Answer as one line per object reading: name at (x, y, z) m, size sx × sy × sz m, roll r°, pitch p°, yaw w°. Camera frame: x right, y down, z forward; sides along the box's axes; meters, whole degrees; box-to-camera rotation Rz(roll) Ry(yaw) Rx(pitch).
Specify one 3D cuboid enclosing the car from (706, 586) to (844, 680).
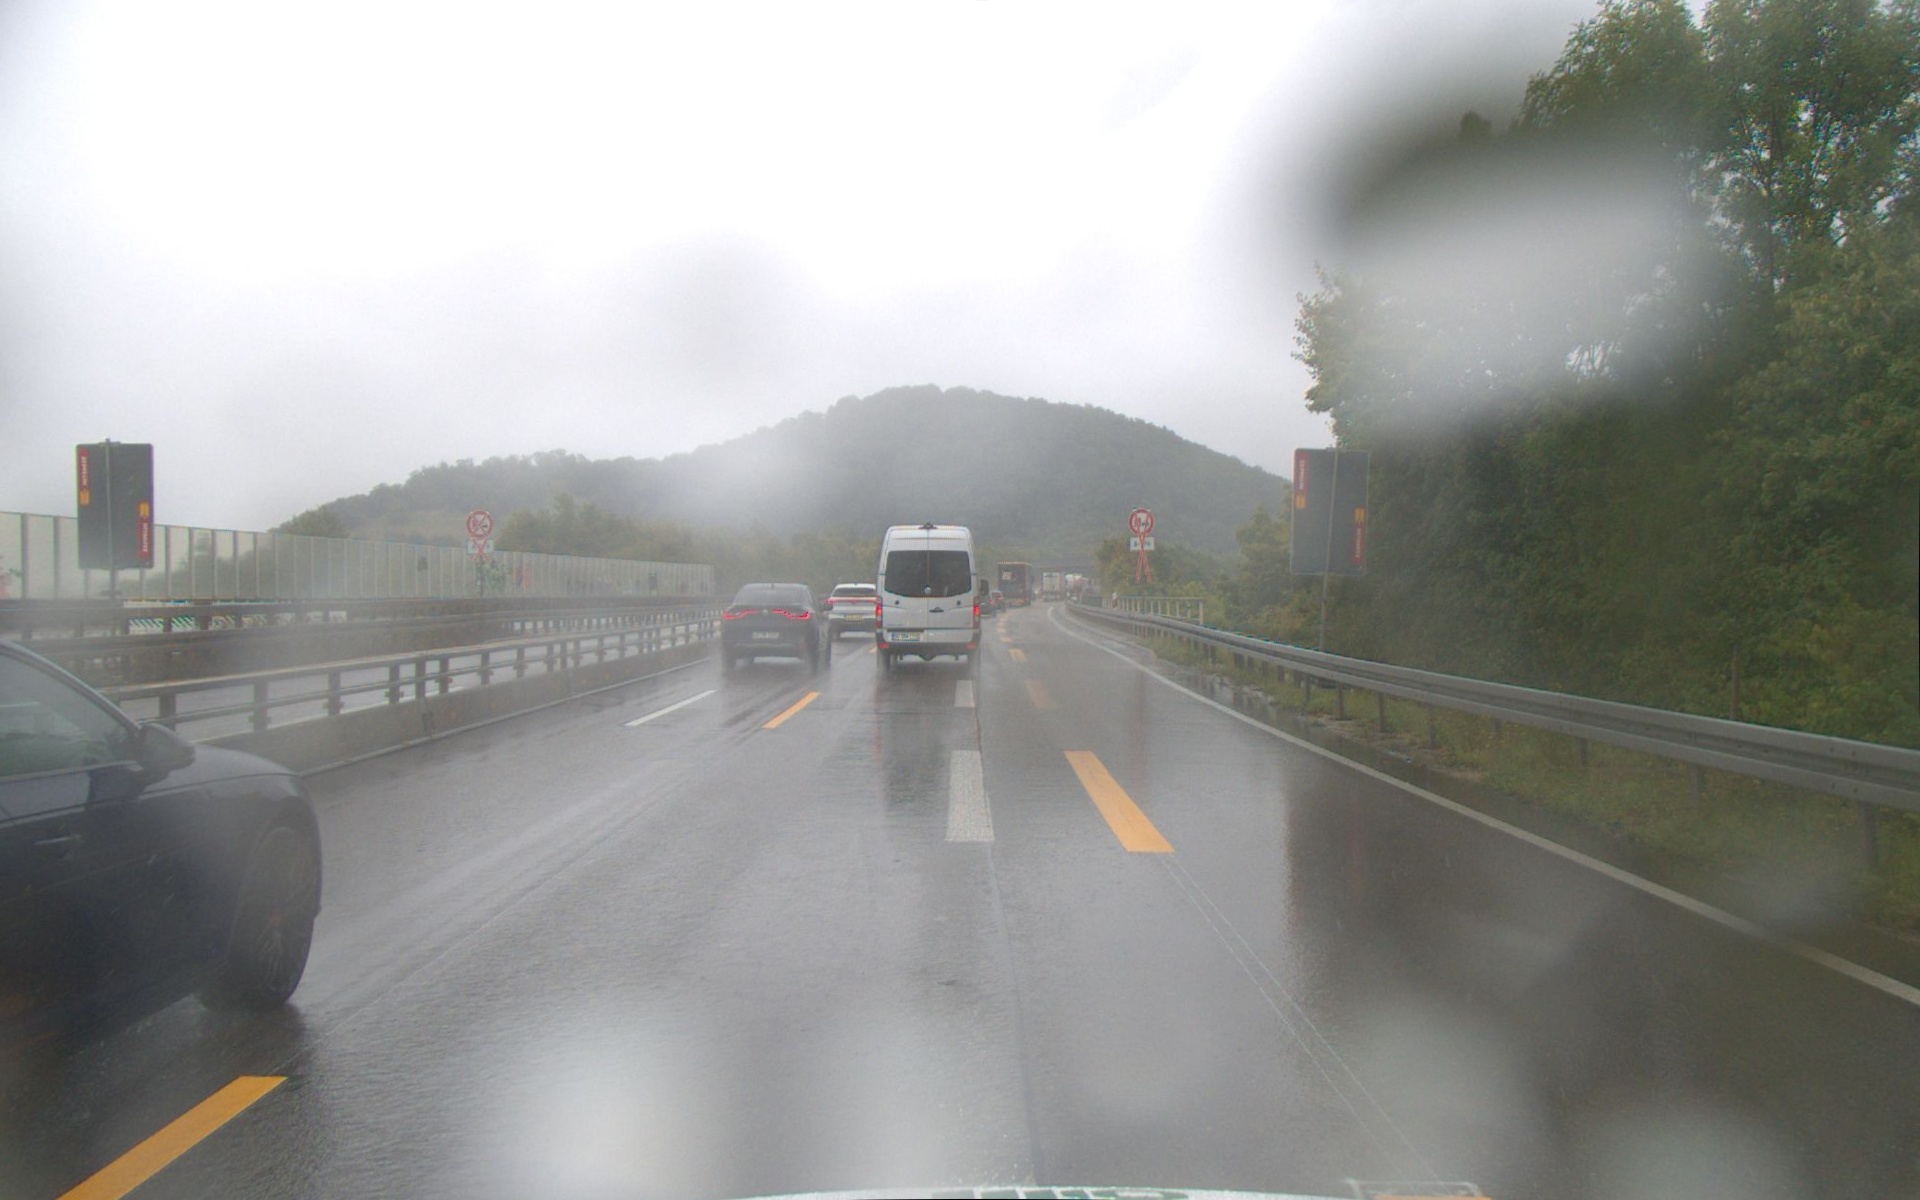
car at (-3.446, 0.594, 31.602) m, size 1.952 × 1.613 × 4.414 m, roll 1°, pitch 0°, yaw 2°

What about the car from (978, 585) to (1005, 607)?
car at (2.232, -0.253, 115.750) m, size 1.736 × 1.501 × 4.002 m, roll 1°, pitch 0°, yaw 3°

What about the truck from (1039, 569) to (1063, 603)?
truck at (12.851, -1.922, 232.638) m, size 2.972 × 4.483 × 9.630 m, roll 1°, pitch 0°, yaw 5°

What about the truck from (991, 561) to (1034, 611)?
truck at (4.988, -1.244, 156.188) m, size 3.506 × 4.483 × 9.629 m, roll 1°, pitch 0°, yaw 5°

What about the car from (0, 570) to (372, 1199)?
car at (-3.289, 0.670, 4.160) m, size 1.953 × 1.524 × 4.630 m, roll 1°, pitch 0°, yaw 0°

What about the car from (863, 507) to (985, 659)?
car at (-0.662, -0.294, 31.797) m, size 2.101 × 2.616 × 5.388 m, roll 1°, pitch 0°, yaw -1°

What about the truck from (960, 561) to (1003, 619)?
truck at (1.319, -0.537, 96.097) m, size 1.952 × 3.163 × 8.502 m, roll 1°, pitch 0°, yaw 4°

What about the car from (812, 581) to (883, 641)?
car at (-3.277, 0.320, 48.917) m, size 1.954 × 1.645 × 4.793 m, roll 1°, pitch 0°, yaw -3°
